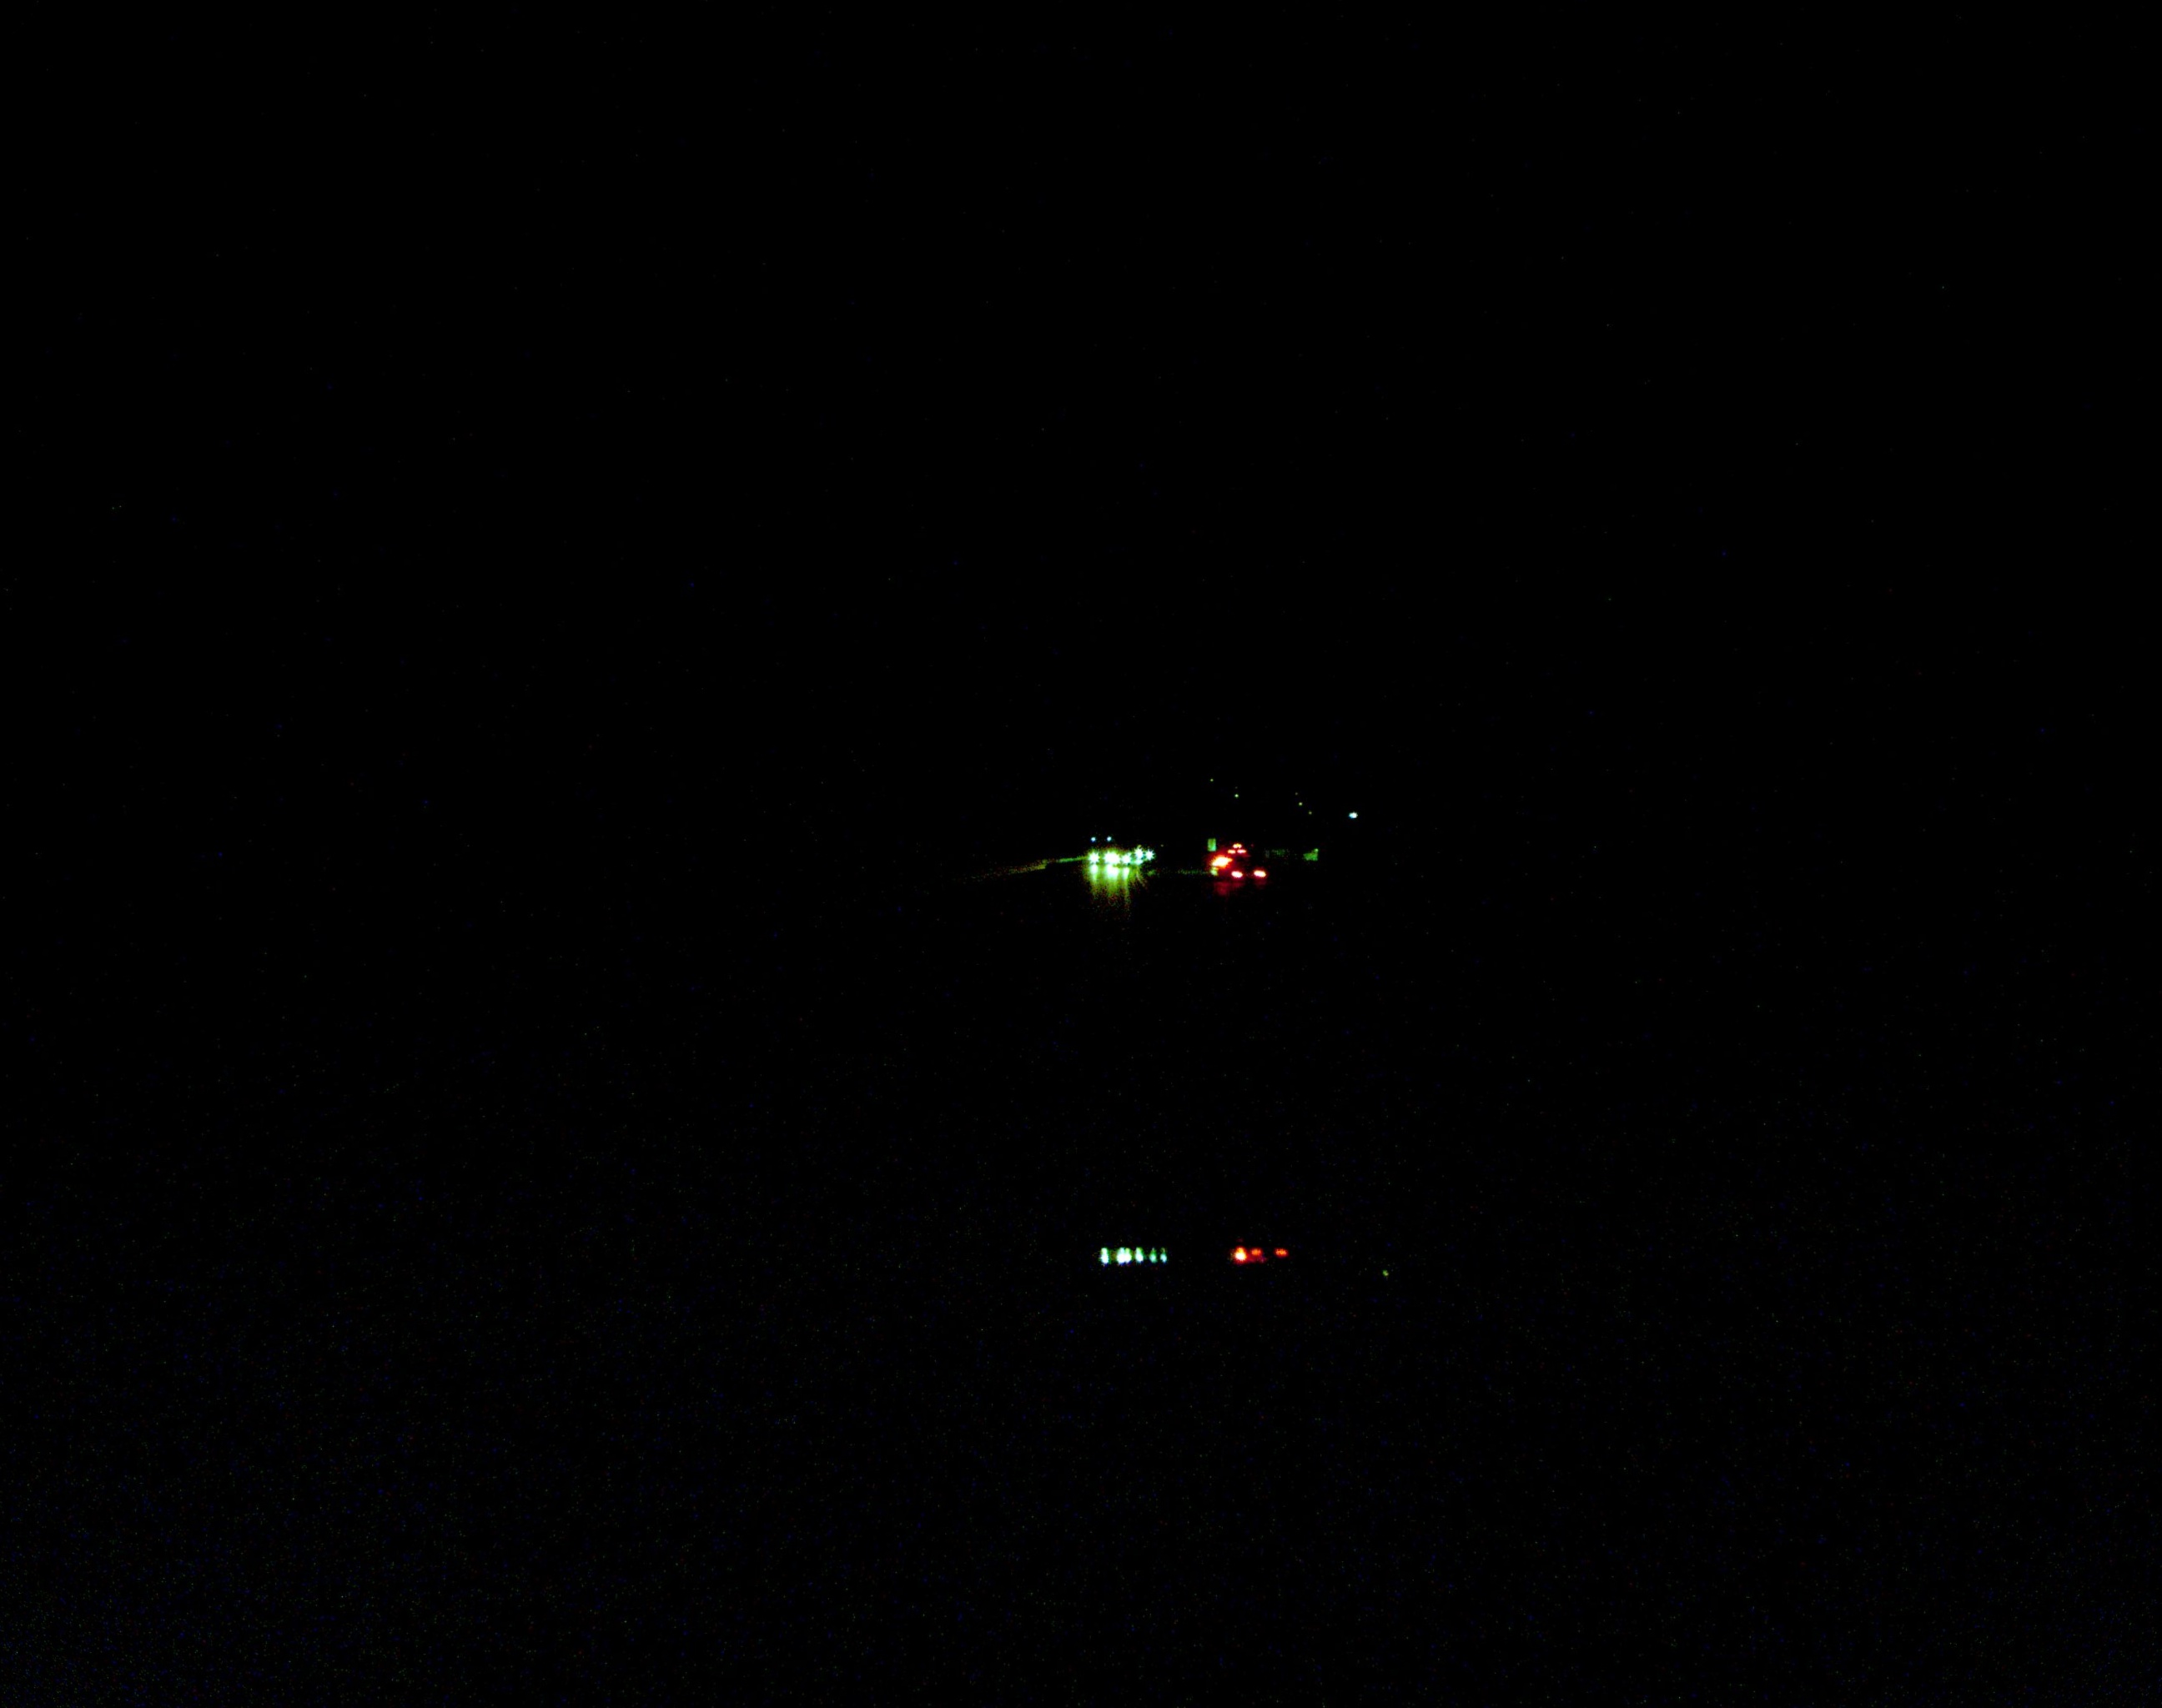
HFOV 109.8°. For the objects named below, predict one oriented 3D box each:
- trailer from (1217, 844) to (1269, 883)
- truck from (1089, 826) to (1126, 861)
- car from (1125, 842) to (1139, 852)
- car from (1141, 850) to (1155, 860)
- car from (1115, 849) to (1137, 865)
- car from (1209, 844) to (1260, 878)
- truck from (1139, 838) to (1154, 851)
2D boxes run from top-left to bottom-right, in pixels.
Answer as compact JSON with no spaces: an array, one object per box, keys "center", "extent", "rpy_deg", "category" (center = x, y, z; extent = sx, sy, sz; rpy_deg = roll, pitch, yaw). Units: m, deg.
[{"center":[7.524,0.409,35.636],"extent":[2.017,1.630,3.418],"rpy_deg":[-1,1,6],"category":"trailer"},{"center":[3.770,-1.513,101.567],"extent":[2.970,4.250,17.151],"rpy_deg":[-1,1,8],"category":"truck"},{"center":[8.594,-1.176,127.809],"extent":[1.690,1.620,4.726],"rpy_deg":[-1,1,11],"category":"car"},{"center":[10.444,0.187,118.366],"extent":[1.811,1.508,3.939],"rpy_deg":[-1,0,10],"category":"car"},{"center":[4.581,0.317,77.575],"extent":[1.811,1.508,3.938],"rpy_deg":[-1,0,9],"category":"car"},{"center":[7.948,0.333,39.748],"extent":[2.017,1.630,4.864],"rpy_deg":[-1,1,5],"category":"car"},{"center":[13.480,-1.960,155.236],"extent":[2.425,2.410,7.096],"rpy_deg":[-1,0,9],"category":"truck"}]
